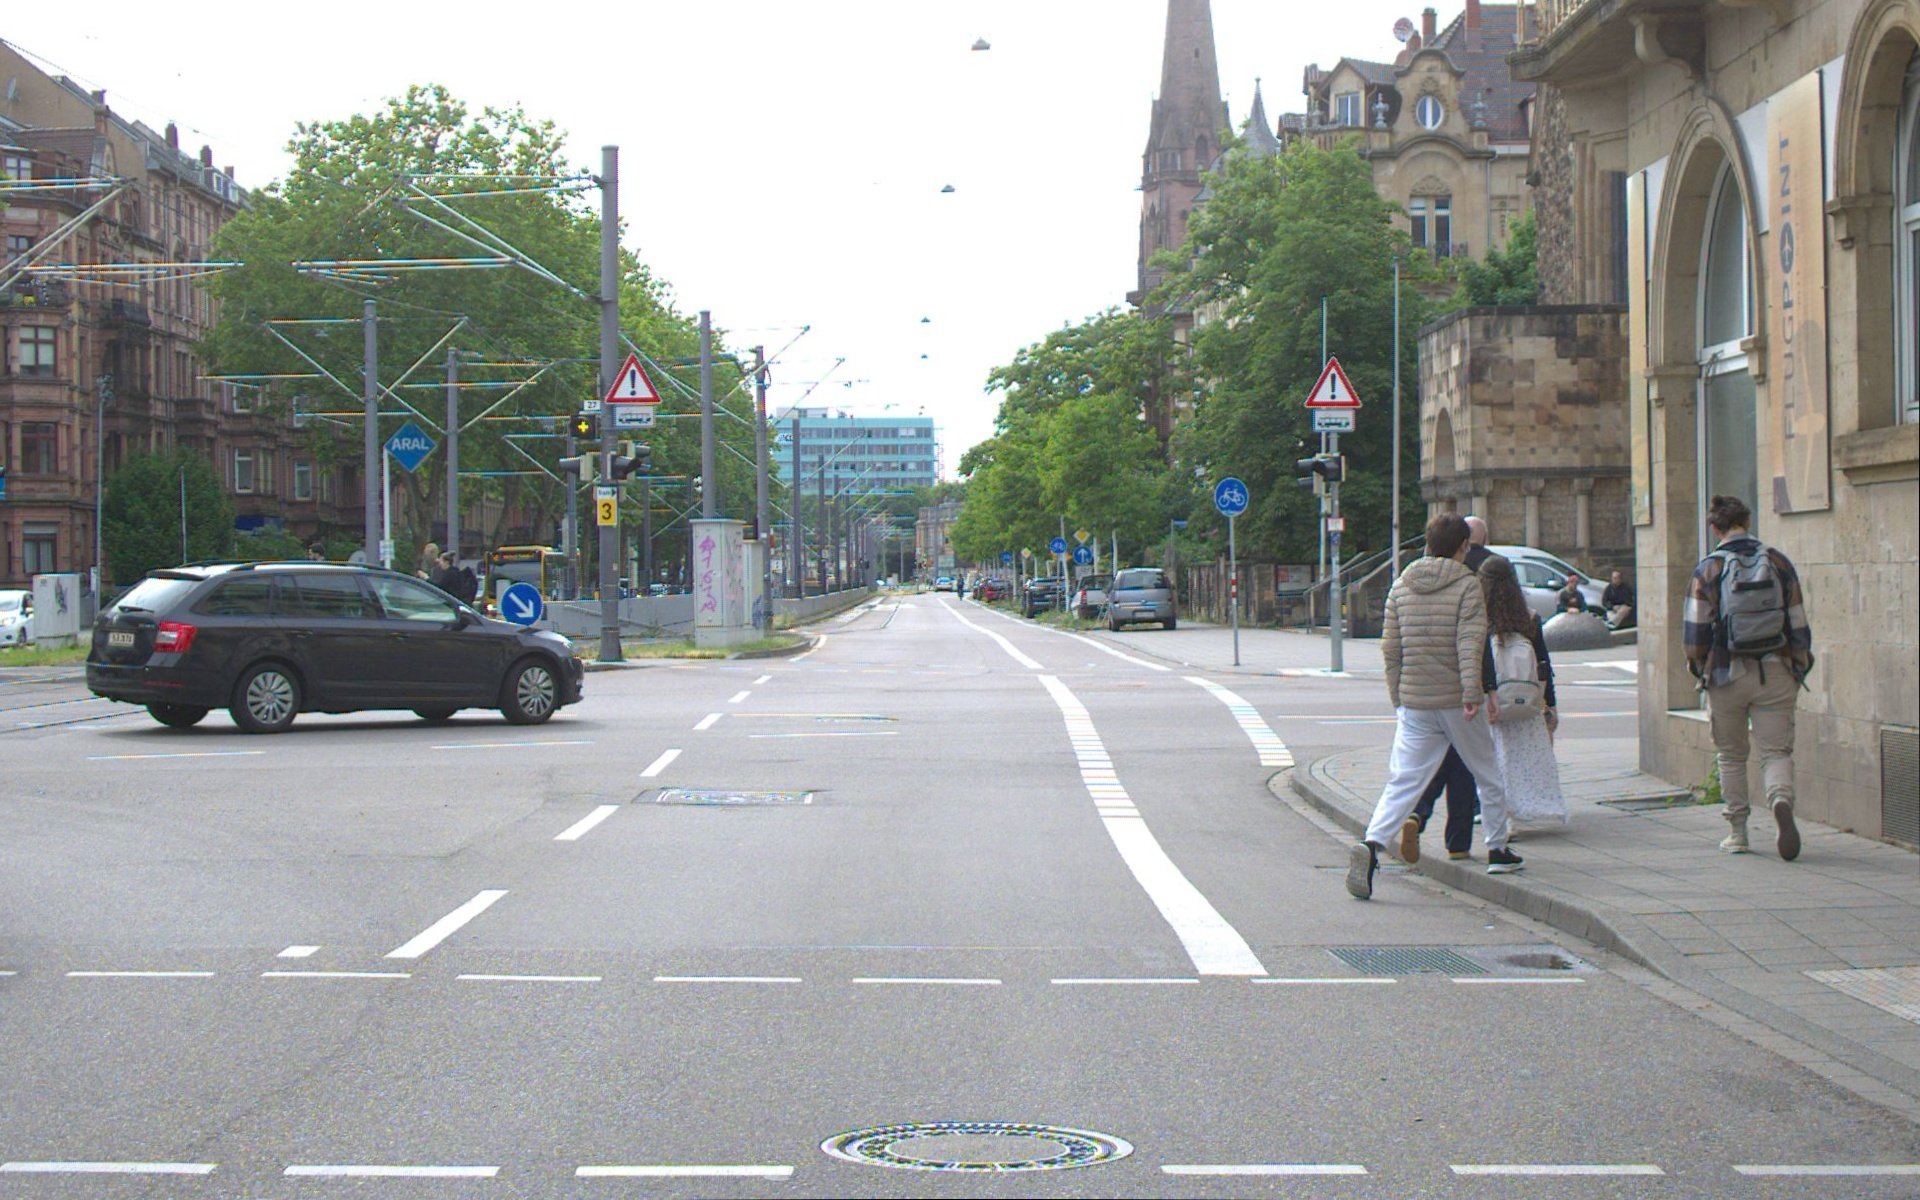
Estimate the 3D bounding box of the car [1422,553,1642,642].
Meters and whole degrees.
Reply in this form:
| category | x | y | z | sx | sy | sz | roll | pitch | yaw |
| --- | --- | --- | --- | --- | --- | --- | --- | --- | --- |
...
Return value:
| category | x | y | z | sx | sy | sz | roll | pitch | yaw |
| --- | --- | --- | --- | --- | --- | --- | --- | --- | --- |
| car | 10.767 | -0.051 | 64.906 | 3.799 | 1.595 | 2.000 | 1 | 0 | 0 |

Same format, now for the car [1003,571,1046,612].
| category | x | y | z | sx | sy | sz | roll | pitch | yaw |
| --- | --- | --- | --- | --- | --- | --- | --- | --- | --- |
| car | 3.210 | -0.452 | 172.449 | 1.993 | 2.007 | 4.000 | 1 | 0 | -1 |

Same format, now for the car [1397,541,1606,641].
| category | x | y | z | sx | sy | sz | roll | pitch | yaw |
| --- | --- | --- | --- | --- | --- | --- | --- | --- | --- |
| car | 10.729 | -0.174 | 68.316 | 3.799 | 1.897 | 2.000 | 1 | 0 | 0 |

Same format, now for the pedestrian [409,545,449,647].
| category | x | y | z | sx | sy | sz | roll | pitch | yaw |
| --- | --- | --- | --- | --- | --- | --- | --- | --- | --- |
| pedestrian | -8.045 | -0.060 | 52.130 | 0.545 | 1.532 | 0.466 | 1 | 0 | -5 |

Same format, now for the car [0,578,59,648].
| category | x | y | z | sx | sy | sz | roll | pitch | yaw |
| --- | --- | --- | --- | --- | --- | --- | --- | --- | --- |
| car | -22.183 | 0.270 | 79.154 | 1.894 | 1.552 | 3.836 | 1 | 0 | -1 |

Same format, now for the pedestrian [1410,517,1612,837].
| category | x | y | z | sx | sy | sz | roll | pitch | yaw |
| --- | --- | --- | --- | --- | --- | --- | --- | --- | --- |
| pedestrian | 3.147 | 0.424 | 19.648 | 0.917 | 1.778 | 0.646 | 1 | 0 | 37 |

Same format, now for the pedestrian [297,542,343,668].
| category | x | y | z | sx | sy | sz | roll | pitch | yaw |
| --- | --- | --- | --- | --- | --- | --- | --- | --- | --- |
| pedestrian | -9.187 | 0.072 | 49.356 | 0.573 | 1.788 | 0.519 | 1 | 0 | -5 |

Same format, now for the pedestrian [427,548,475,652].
| category | x | y | z | sx | sy | sz | roll | pitch | yaw |
| --- | --- | --- | --- | --- | --- | --- | --- | --- | --- |
| pedestrian | -7.627 | -0.002 | 51.538 | 0.653 | 1.532 | 0.466 | 1 | 0 | -5 |

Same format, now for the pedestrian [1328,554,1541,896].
| category | x | y | z | sx | sy | sz | roll | pitch | yaw |
| --- | --- | --- | --- | --- | --- | --- | --- | --- | --- |
| pedestrian | 2.382 | 0.604 | 17.206 | 0.627 | 1.647 | 0.994 | 1 | 0 | 37 |

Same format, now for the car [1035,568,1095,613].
| category | x | y | z | sx | sy | sz | roll | pitch | yaw |
| --- | --- | --- | --- | --- | --- | --- | --- | --- | --- |
| car | 3.911 | -0.350 | 128.484 | 1.993 | 1.602 | 4.164 | -2 | 0 | -1 |

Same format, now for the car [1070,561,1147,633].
| category | x | y | z | sx | sy | sz | roll | pitch | yaw |
| --- | --- | --- | --- | --- | --- | --- | --- | --- | --- |
| car | 4.281 | -0.102 | 99.670 | 1.993 | 2.007 | 4.000 | 1 | 0 | -1 |

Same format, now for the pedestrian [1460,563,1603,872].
| category | x | y | z | sx | sy | sz | roll | pitch | yaw |
| --- | --- | --- | --- | --- | --- | --- | --- | --- | --- |
| pedestrian | 3.028 | 0.606 | 18.262 | 0.700 | 1.587 | 0.831 | 1 | 0 | 8 |

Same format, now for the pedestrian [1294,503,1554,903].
| category | x | y | z | sx | sy | sz | roll | pitch | yaw |
| --- | --- | --- | --- | --- | --- | --- | --- | --- | --- |
| pedestrian | 2.154 | 0.467 | 15.987 | 1.011 | 1.807 | 0.585 | 1 | 0 | -23 |

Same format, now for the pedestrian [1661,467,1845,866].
| category | x | y | z | sx | sy | sz | roll | pitch | yaw |
| --- | --- | --- | --- | --- | --- | --- | --- | --- | --- |
| pedestrian | 3.698 | 0.302 | 16.106 | 0.626 | 1.772 | 1.134 | -3 | 0 | 7 |

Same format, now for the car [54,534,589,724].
| category | x | y | z | sx | sy | sz | roll | pitch | yaw |
| --- | --- | --- | --- | --- | --- | --- | --- | --- | --- |
| car | -5.626 | 0.244 | 30.591 | 4.328 | 1.581 | 1.811 | 1 | 0 | -40 |

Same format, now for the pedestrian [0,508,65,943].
| category | x | y | z | sx | sy | sz | roll | pitch | yaw |
| --- | --- | --- | --- | --- | --- | --- | --- | --- | --- |
| pedestrian | -4.045 | 0.477 | 13.323 | 0.671 | 1.674 | 0.866 | 1 | 0 | 38 |

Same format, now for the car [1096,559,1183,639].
| category | x | y | z | sx | sy | sz | roll | pitch | yaw |
| --- | --- | --- | --- | --- | --- | --- | --- | --- | --- |
| car | 4.686 | -0.040 | 90.159 | 1.993 | 2.007 | 4.000 | 1 | 0 | -1 |
